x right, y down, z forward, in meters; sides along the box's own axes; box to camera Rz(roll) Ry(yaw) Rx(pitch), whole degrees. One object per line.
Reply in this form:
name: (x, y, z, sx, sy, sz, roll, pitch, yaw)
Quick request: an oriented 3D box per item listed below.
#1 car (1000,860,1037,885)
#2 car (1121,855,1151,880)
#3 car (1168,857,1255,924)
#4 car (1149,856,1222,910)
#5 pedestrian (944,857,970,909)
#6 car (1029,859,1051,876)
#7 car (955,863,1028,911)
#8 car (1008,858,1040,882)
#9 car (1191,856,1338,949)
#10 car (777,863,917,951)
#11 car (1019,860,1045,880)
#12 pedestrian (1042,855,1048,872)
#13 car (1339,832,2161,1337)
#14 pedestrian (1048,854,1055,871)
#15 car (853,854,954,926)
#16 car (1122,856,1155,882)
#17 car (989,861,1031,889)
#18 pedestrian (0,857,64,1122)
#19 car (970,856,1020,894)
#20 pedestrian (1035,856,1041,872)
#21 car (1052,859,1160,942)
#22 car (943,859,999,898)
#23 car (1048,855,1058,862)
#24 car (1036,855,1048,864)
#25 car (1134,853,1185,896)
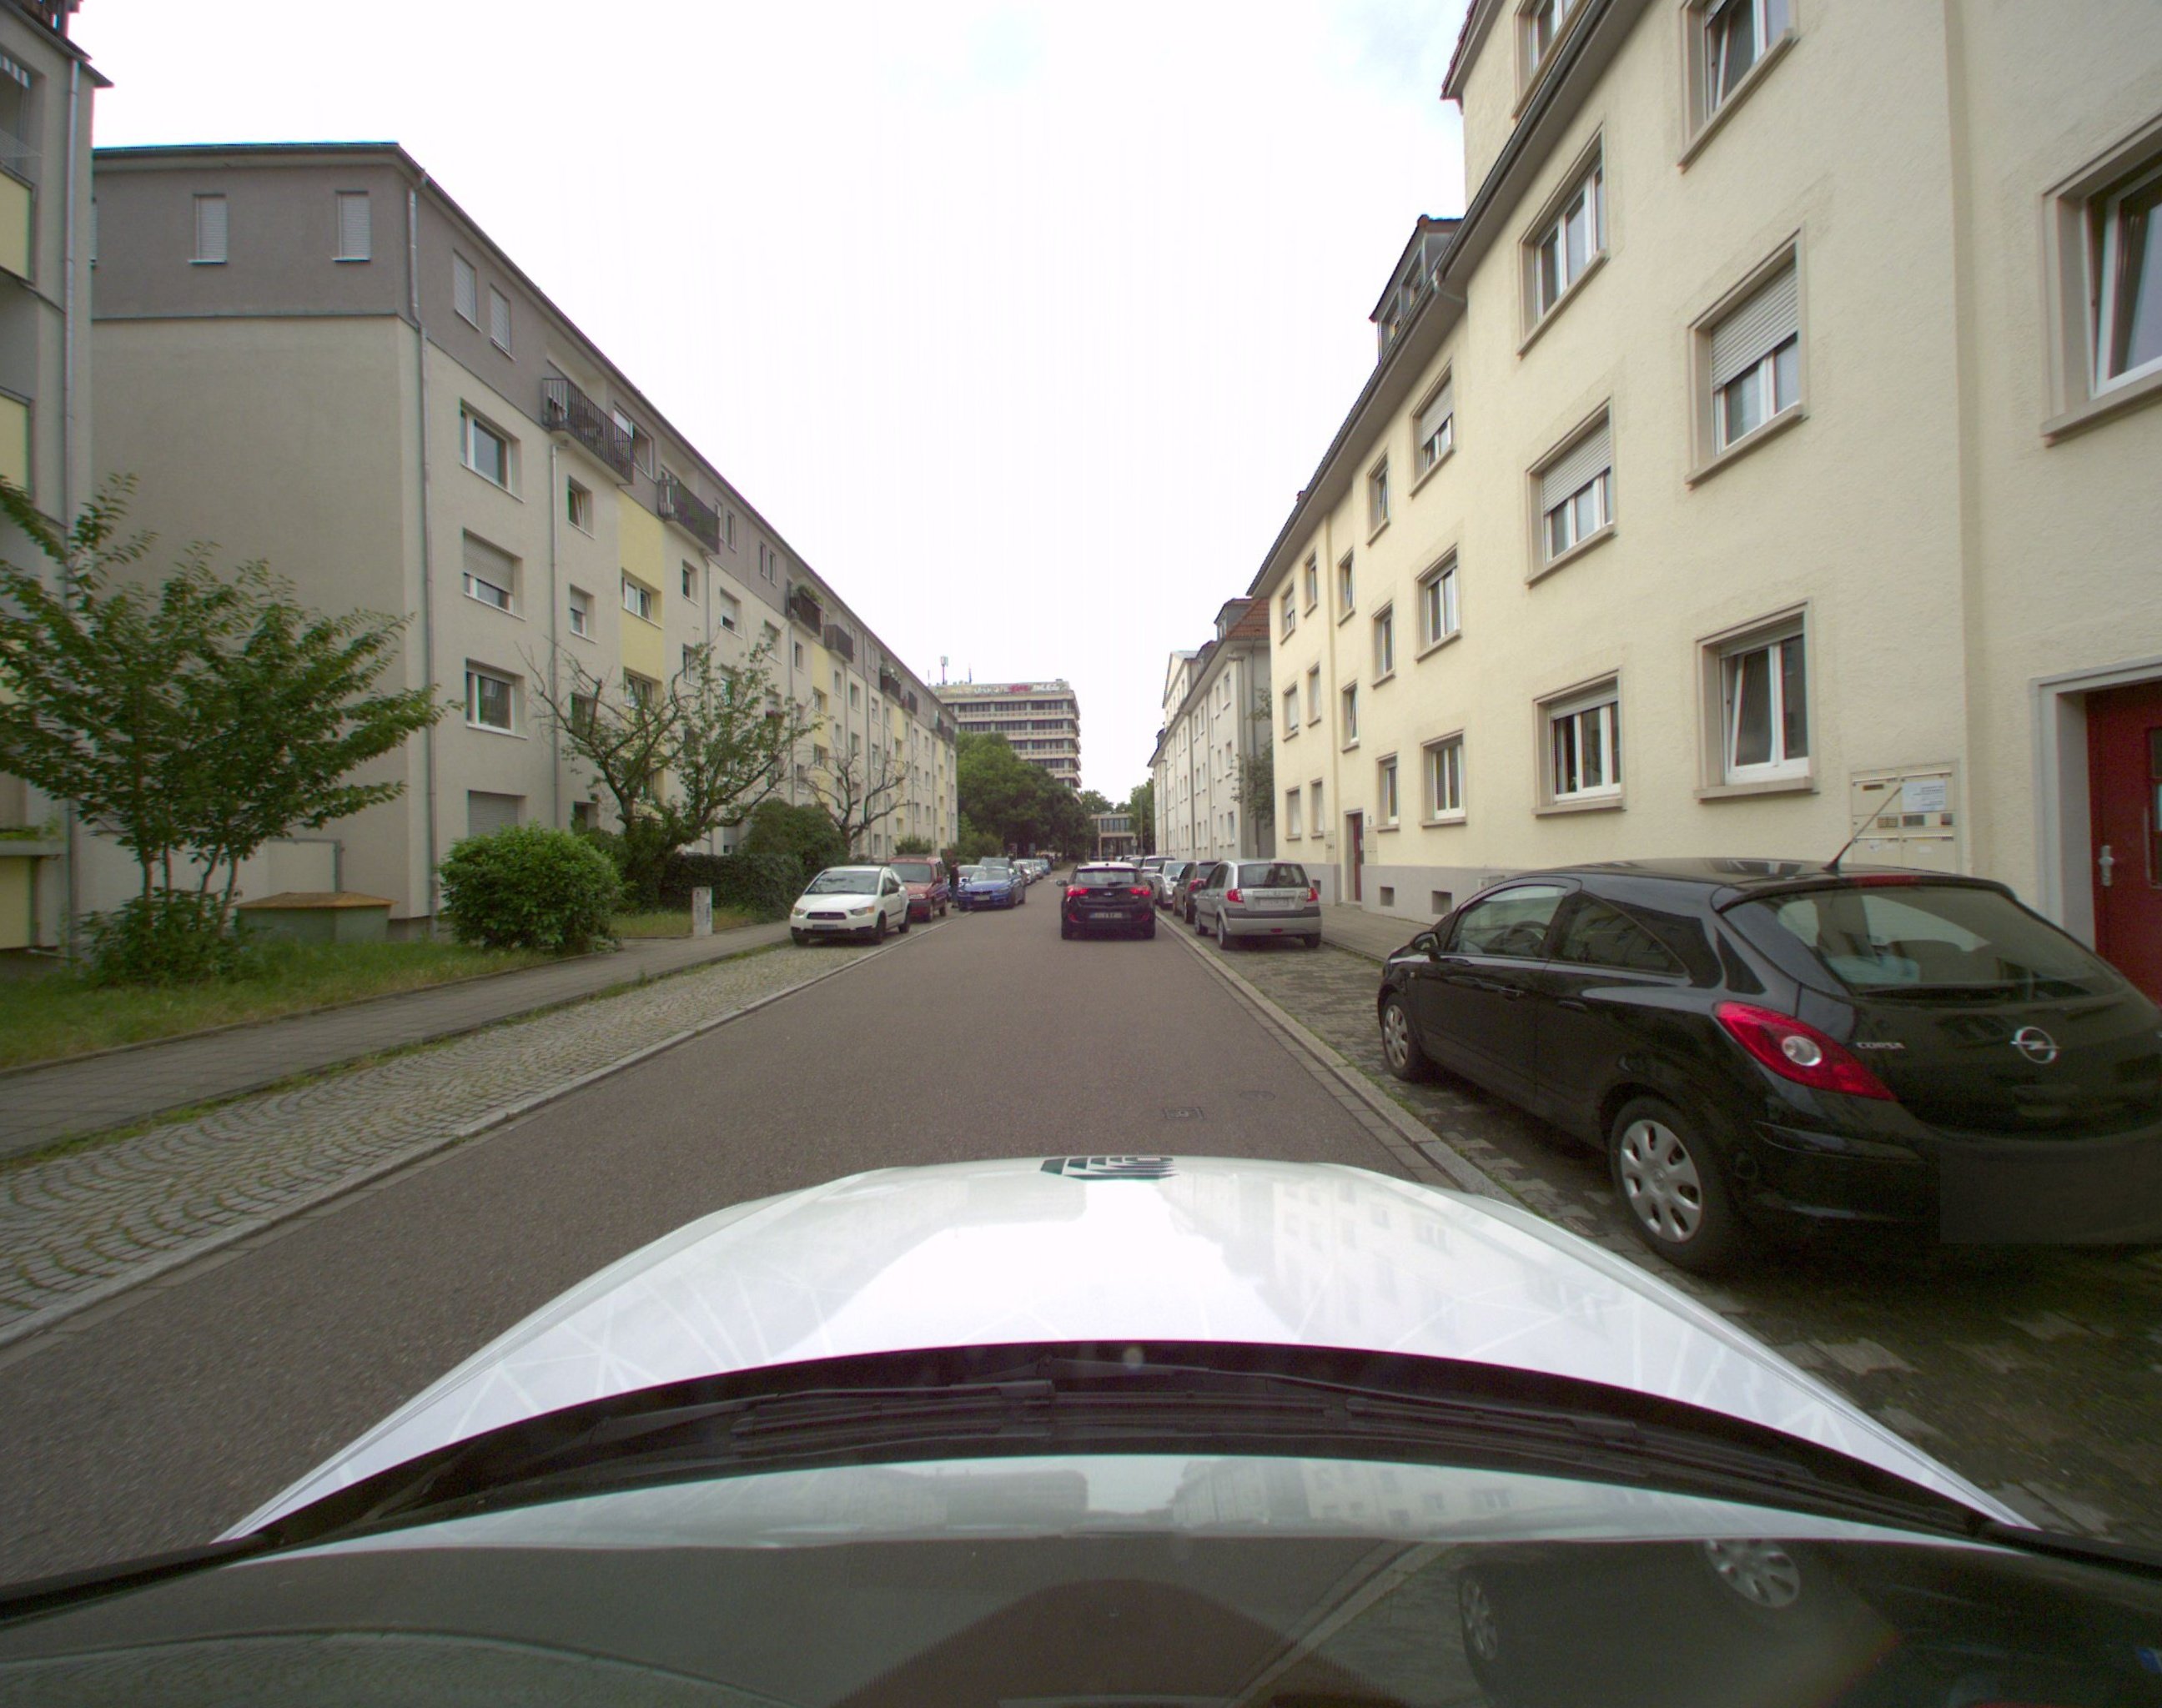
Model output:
car: (-3.917, 1.132, 51.425, 1.888, 1.452, 4.521, 1, 0, 1)
car: (3.682, 0.868, 55.084, 1.813, 1.603, 4.092, -2, 0, 2)
car: (3.131, 0.826, 20.222, 1.597, 1.476, 3.869, -1, 0, 1)
car: (3.094, 0.818, 24.907, 1.719, 1.476, 4.505, -1, 0, 1)
pedestrian: (-4.268, 0.984, 28.004, 0.742, 1.701, 0.791, -2, -1, -17)
car: (-3.949, 1.269, 78.177, 1.988, 1.541, 3.997, -1, 0, -2)
car: (-2.975, 1.071, 27.944, 1.838, 1.451, 4.503, -1, 0, 2)
car: (-3.973, 1.103, 57.549, 1.888, 1.599, 4.521, 1, 0, 1)
car: (3.133, 0.767, 14.689, 1.842, 1.450, 3.833, -1, 0, 1)
car: (-4.678, 0.992, 16.867, 1.714, 1.570, 3.870, 0, 0, 1)
car: (-3.940, 1.246, 65.858, 1.988, 1.541, 3.997, -1, 0, -2)
pedestrian: (-3.937, 1.062, 88.545, 0.602, 1.831, 0.676, -1, 0, 2)
car: (2.957, 0.702, 4.526, 1.720, 1.517, 4.059, -1, 0, -1)
pedestrian: (-3.190, 0.935, 88.300, 0.711, 1.831, 0.798, -1, 0, 2)
car: (-4.808, 0.916, 22.705, 1.951, 1.770, 4.359, -1, 0, -2)
car: (3.527, 0.871, 50.320, 1.813, 1.503, 4.092, -1, 0, 2)
car: (-3.957, 1.159, 46.059, 1.888, 1.452, 4.666, 1, 0, 1)
pedestrian: (-6.975, 0.831, 4.779, 0.798, 1.610, 0.945, -1, -1, -4)
car: (-4.166, 0.975, 39.909, 1.888, 1.740, 4.475, 1, 0, 1)
pedestrian: (-4.668, 1.105, 88.460, 0.598, 1.713, 0.649, -1, 0, 2)
car: (0.504, 0.849, 16.815, 1.896, 1.433, 4.234, -2, 0, 1)
car: (-4.582, 0.979, 34.364, 1.738, 1.464, 3.786, -2, 0, 1)
car: (-5.103, 0.828, 149.846, 1.660, 1.333, 3.396, -1, 0, 1)
car: (-6.543, 0.883, 136.415, 1.660, 1.333, 3.396, -1, 0, 1)
car: (3.202, 0.798, 33.944, 1.813, 1.642, 4.092, -1, 0, 2)
